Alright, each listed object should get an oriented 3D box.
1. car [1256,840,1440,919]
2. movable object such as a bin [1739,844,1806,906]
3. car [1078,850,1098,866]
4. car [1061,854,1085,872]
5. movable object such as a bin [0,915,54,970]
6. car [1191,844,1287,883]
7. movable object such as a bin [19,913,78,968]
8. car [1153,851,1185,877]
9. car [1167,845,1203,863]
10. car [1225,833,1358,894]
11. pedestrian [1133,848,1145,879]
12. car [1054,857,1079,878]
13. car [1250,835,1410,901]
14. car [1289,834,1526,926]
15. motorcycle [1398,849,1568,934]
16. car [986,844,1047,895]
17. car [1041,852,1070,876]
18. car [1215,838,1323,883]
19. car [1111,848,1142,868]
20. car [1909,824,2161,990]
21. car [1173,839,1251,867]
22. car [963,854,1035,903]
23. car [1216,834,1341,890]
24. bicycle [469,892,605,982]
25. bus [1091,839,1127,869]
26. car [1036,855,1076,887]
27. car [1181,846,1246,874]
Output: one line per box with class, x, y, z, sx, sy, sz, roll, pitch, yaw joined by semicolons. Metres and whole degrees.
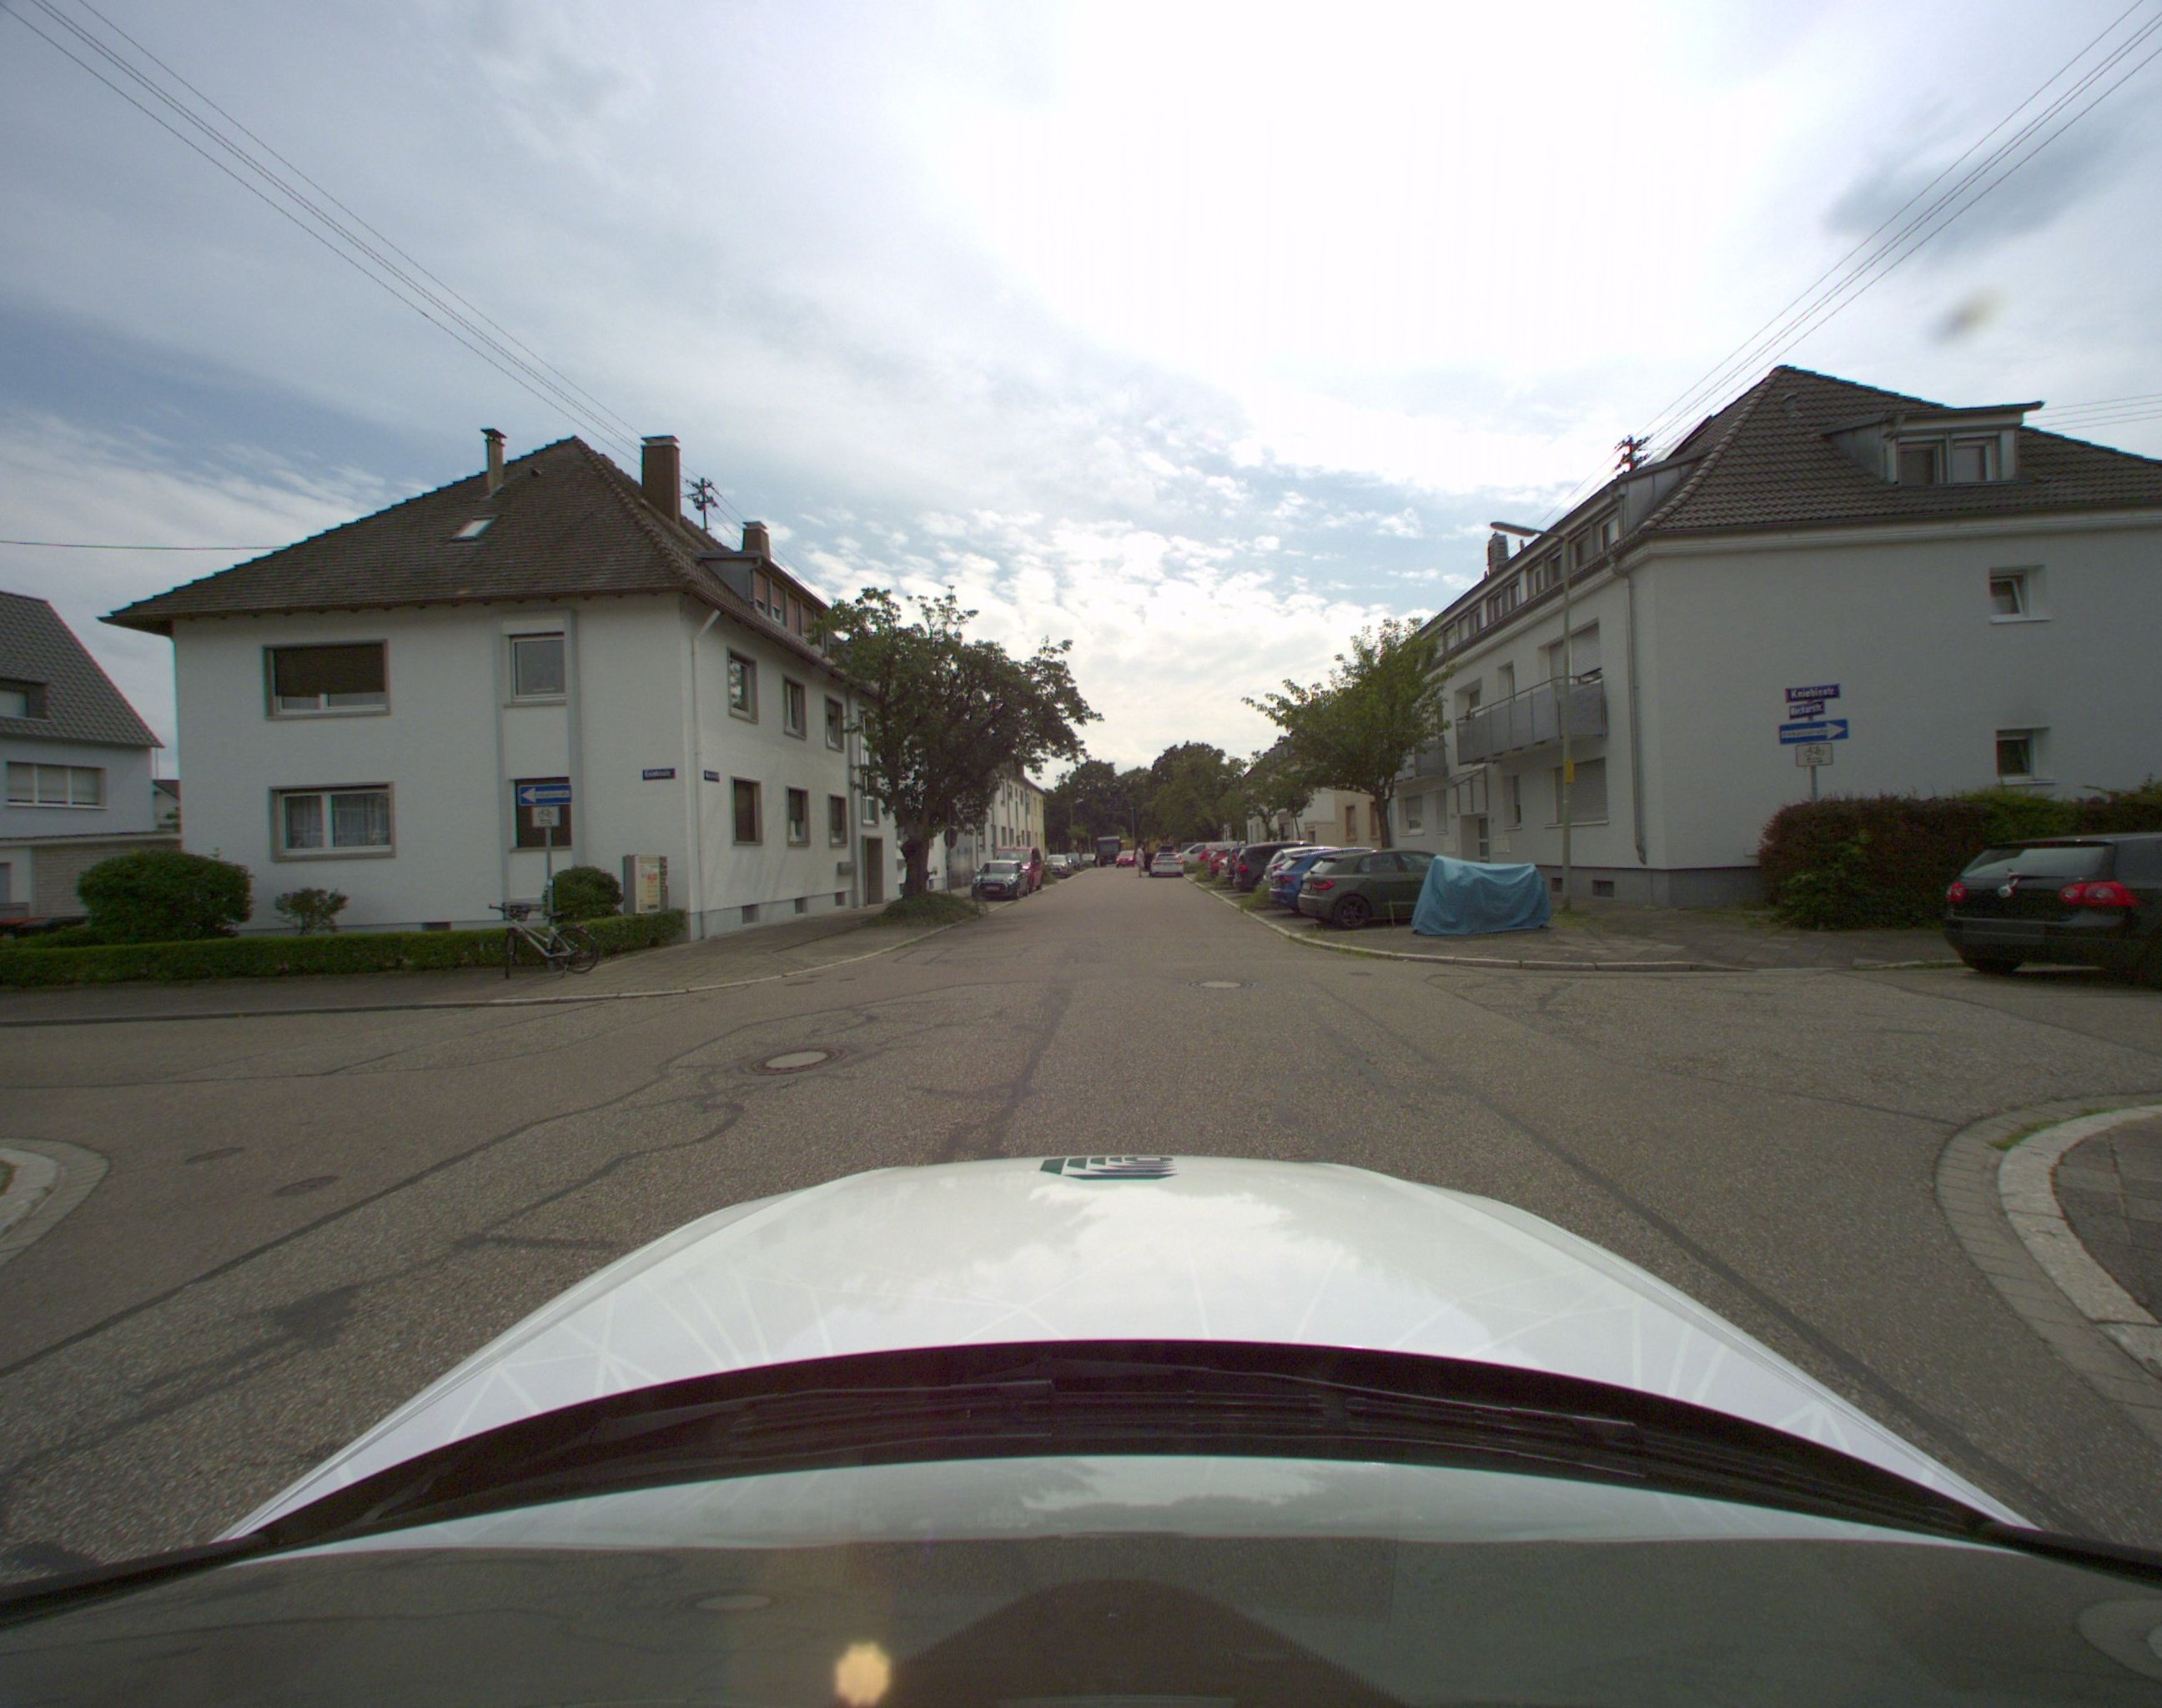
car;5.756;0.530;17.850;3.502;1.412;1.560;-4;0;4
movable object such as a bin;11.764;0.351;13.872;0.517;1.008;0.700;-2;0;2
car;0.764;0.385;86.604;1.613;1.502;4.006;-4;0;5
car;-0.665;0.729;67.521;1.644;1.377;3.725;-4;0;3
movable object such as a bin;-20.215;1.691;15.578;0.503;0.973;0.456;-4;0;5
car;7.051;0.425;36.579;3.970;1.438;1.724;-4;0;3
movable object such as a bin;-19.662;1.647;15.513;0.503;0.973;0.456;-4;0;5
car;5.086;0.566;47.425;1.679;1.354;3.832;-4;0;5
car;10.841;-0.029;84.925;3.513;1.602;1.775;-4;0;4
car;6.511;0.289;25.506;3.730;1.564;1.775;-4;0;4
pedestrian;3.332;0.551;46.894;0.519;1.704;0.445;-4;0;7
car;-0.988;0.945;58.805;1.533;1.301;3.723;-4;0;2
car;6.978;0.376;23.149;3.970;1.518;1.724;-4;0;3
car;5.989;0.467;15.309;3.730;1.365;1.775;-4;0;4
motorcycle;6.274;0.570;12.829;2.185;1.210;0.940;-2;0;2
car;-2.756;0.645;35.876;1.985;2.013;4.525;-2;0;3
car;-1.648;0.640;53.769;1.645;1.377;3.723;-4;0;2
car;7.561;0.264;33.095;3.970;1.518;1.724;-4;0;3
car;4.049;0.328;72.293;1.980;1.618;4.015;-4;0;13
car;11.044;0.427;8.189;3.791;1.443;1.662;-2;0;-2
car;8.897;-0.084;55.575;4.956;1.518;1.769;-4;0;2
car;-3.008;0.870;30.580;1.754;1.554;3.738;-4;0;7
car;6.863;0.264;28.655;3.969;1.618;1.869;-4;0;4
bicycle;-8.030;1.214;12.051;1.628;1.179;0.435;-4;0;-1
bus;3.047;-0.050;85.423;2.989;2.761;8.938;-4;0;6
car;-1.268;0.847;42.094;1.644;1.461;3.555;-4;0;3
car;8.586;0.374;53.182;3.970;1.518;1.724;-4;0;3
